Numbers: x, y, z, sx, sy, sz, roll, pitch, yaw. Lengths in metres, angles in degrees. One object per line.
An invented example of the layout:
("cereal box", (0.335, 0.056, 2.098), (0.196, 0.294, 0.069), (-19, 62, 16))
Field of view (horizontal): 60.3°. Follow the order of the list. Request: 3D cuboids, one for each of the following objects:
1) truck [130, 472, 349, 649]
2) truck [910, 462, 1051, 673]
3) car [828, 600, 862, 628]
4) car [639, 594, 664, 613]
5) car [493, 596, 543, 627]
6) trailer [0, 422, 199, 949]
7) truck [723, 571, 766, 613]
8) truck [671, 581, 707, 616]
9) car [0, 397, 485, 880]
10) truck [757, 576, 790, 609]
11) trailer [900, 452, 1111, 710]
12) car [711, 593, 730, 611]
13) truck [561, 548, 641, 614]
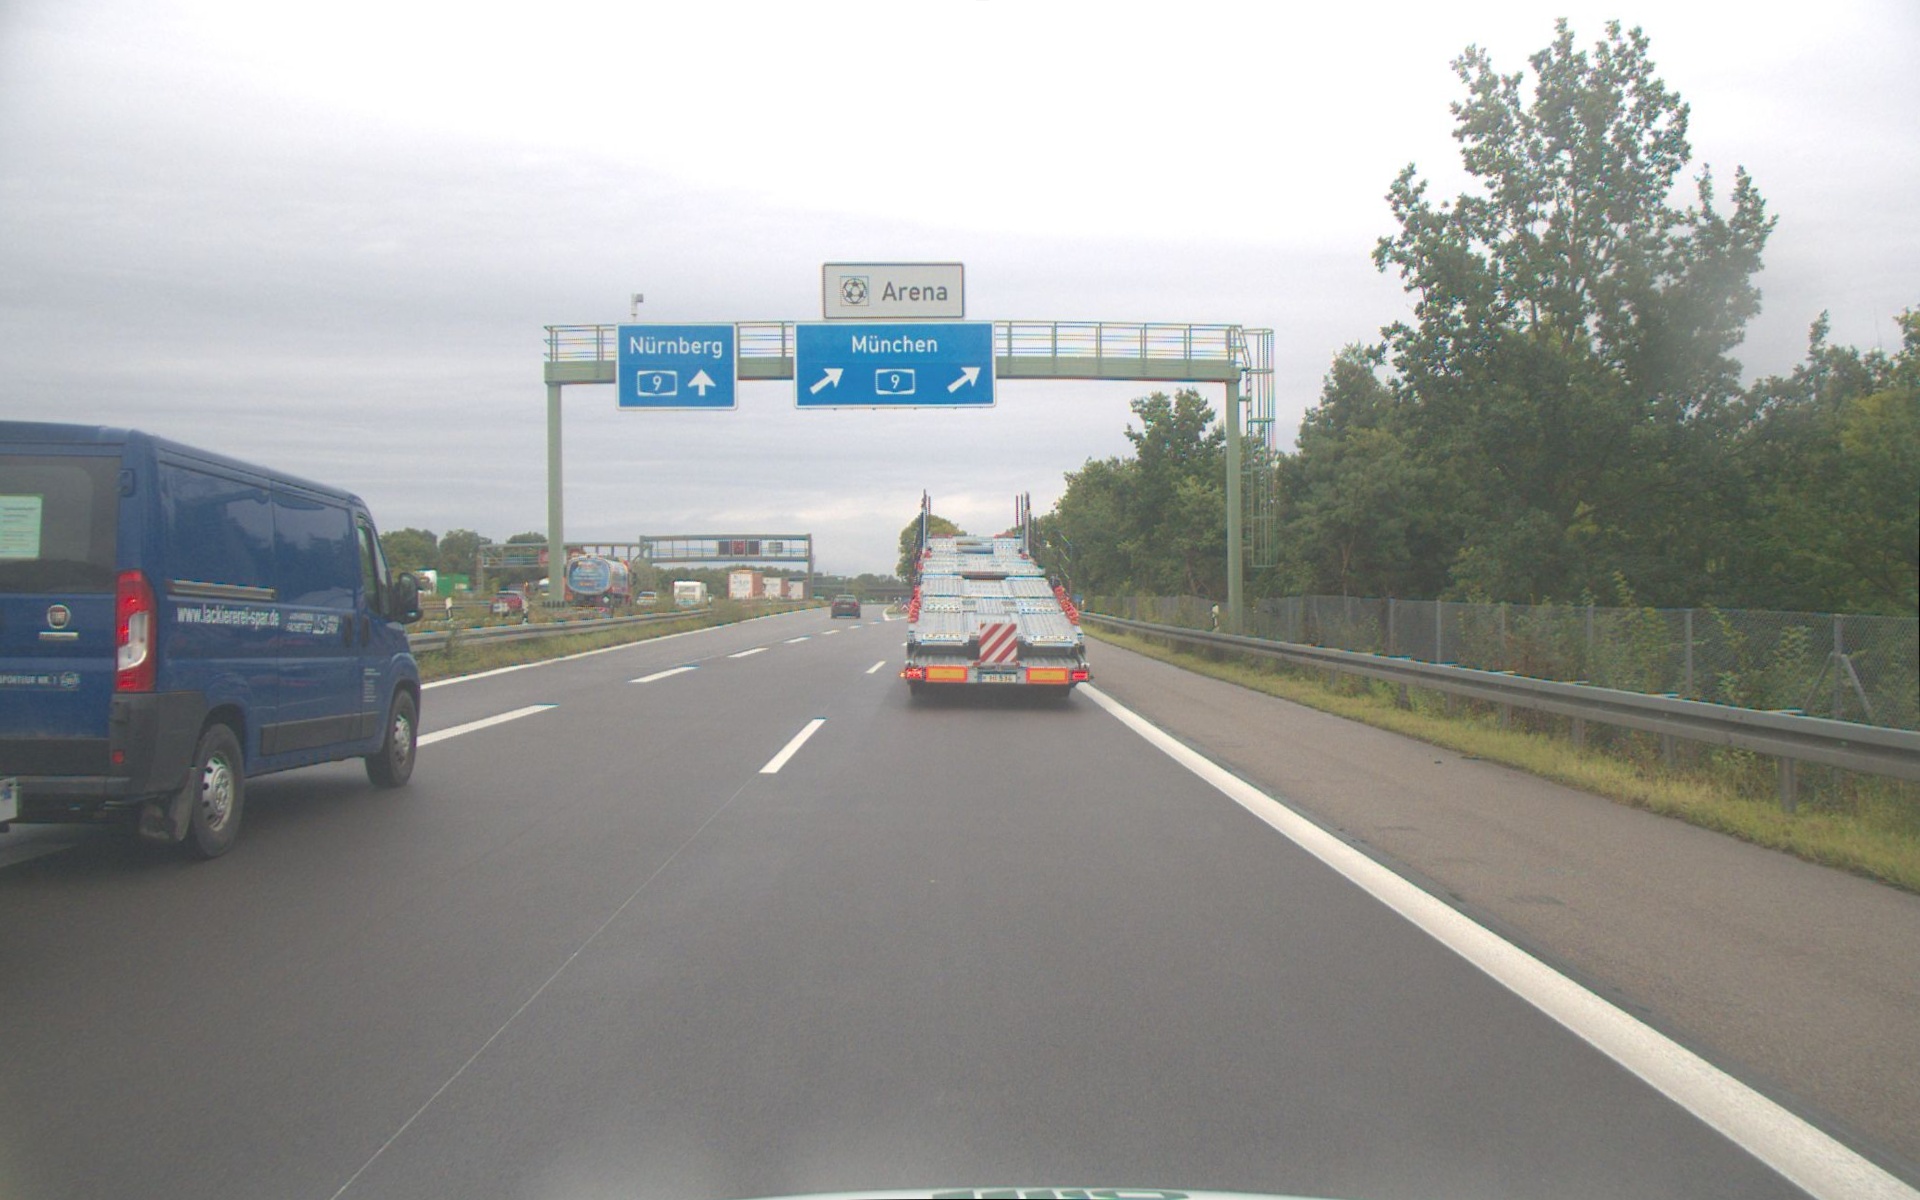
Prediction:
("truck", (-17.377, -0.842, 40.468), (2.586, 3.879, 7.336), (1, -1, -5))
("truck", (0.261, -0.655, 36.663), (2.683, 4.037, 9.125), (1, 0, -2))
("car", (-7.155, 0.886, 103.074), (1.922, 1.666, 5.622), (1, -1, -2))
("car", (-26.149, 0.301, 140.195), (1.649, 1.557, 3.996), (1, 0, -5))
("car", (-23.808, 0.614, 89.140), (1.758, 1.584, 3.824), (1, -1, -2))
("trailer", (-4.826, 0.308, 4.541), (2.435, 2.029, 7.059), (1, 0, -3))
("truck", (-23.867, -0.855, 183.583), (3.658, 4.494, 10.190), (1, 0, -2))
("truck", (-22.103, -0.107, 135.147), (2.198, 2.751, 5.277), (1, 0, -2))
("car", (-5.129, 0.168, 11.033), (2.325, 2.306, 6.253), (1, 0, -3))
("truck", (-25.791, -1.034, 229.592), (3.658, 4.494, 11.891), (1, 0, -2))
("trailer", (0.493, -0.270, 26.887), (2.721, 3.342, 10.404), (1, 0, -1))
("car", (-27.288, 0.264, 188.177), (1.695, 2.049, 3.998), (1, -1, -2))
("truck", (-19.697, -1.017, 91.308), (2.799, 3.424, 8.627), (1, 0, -2))
